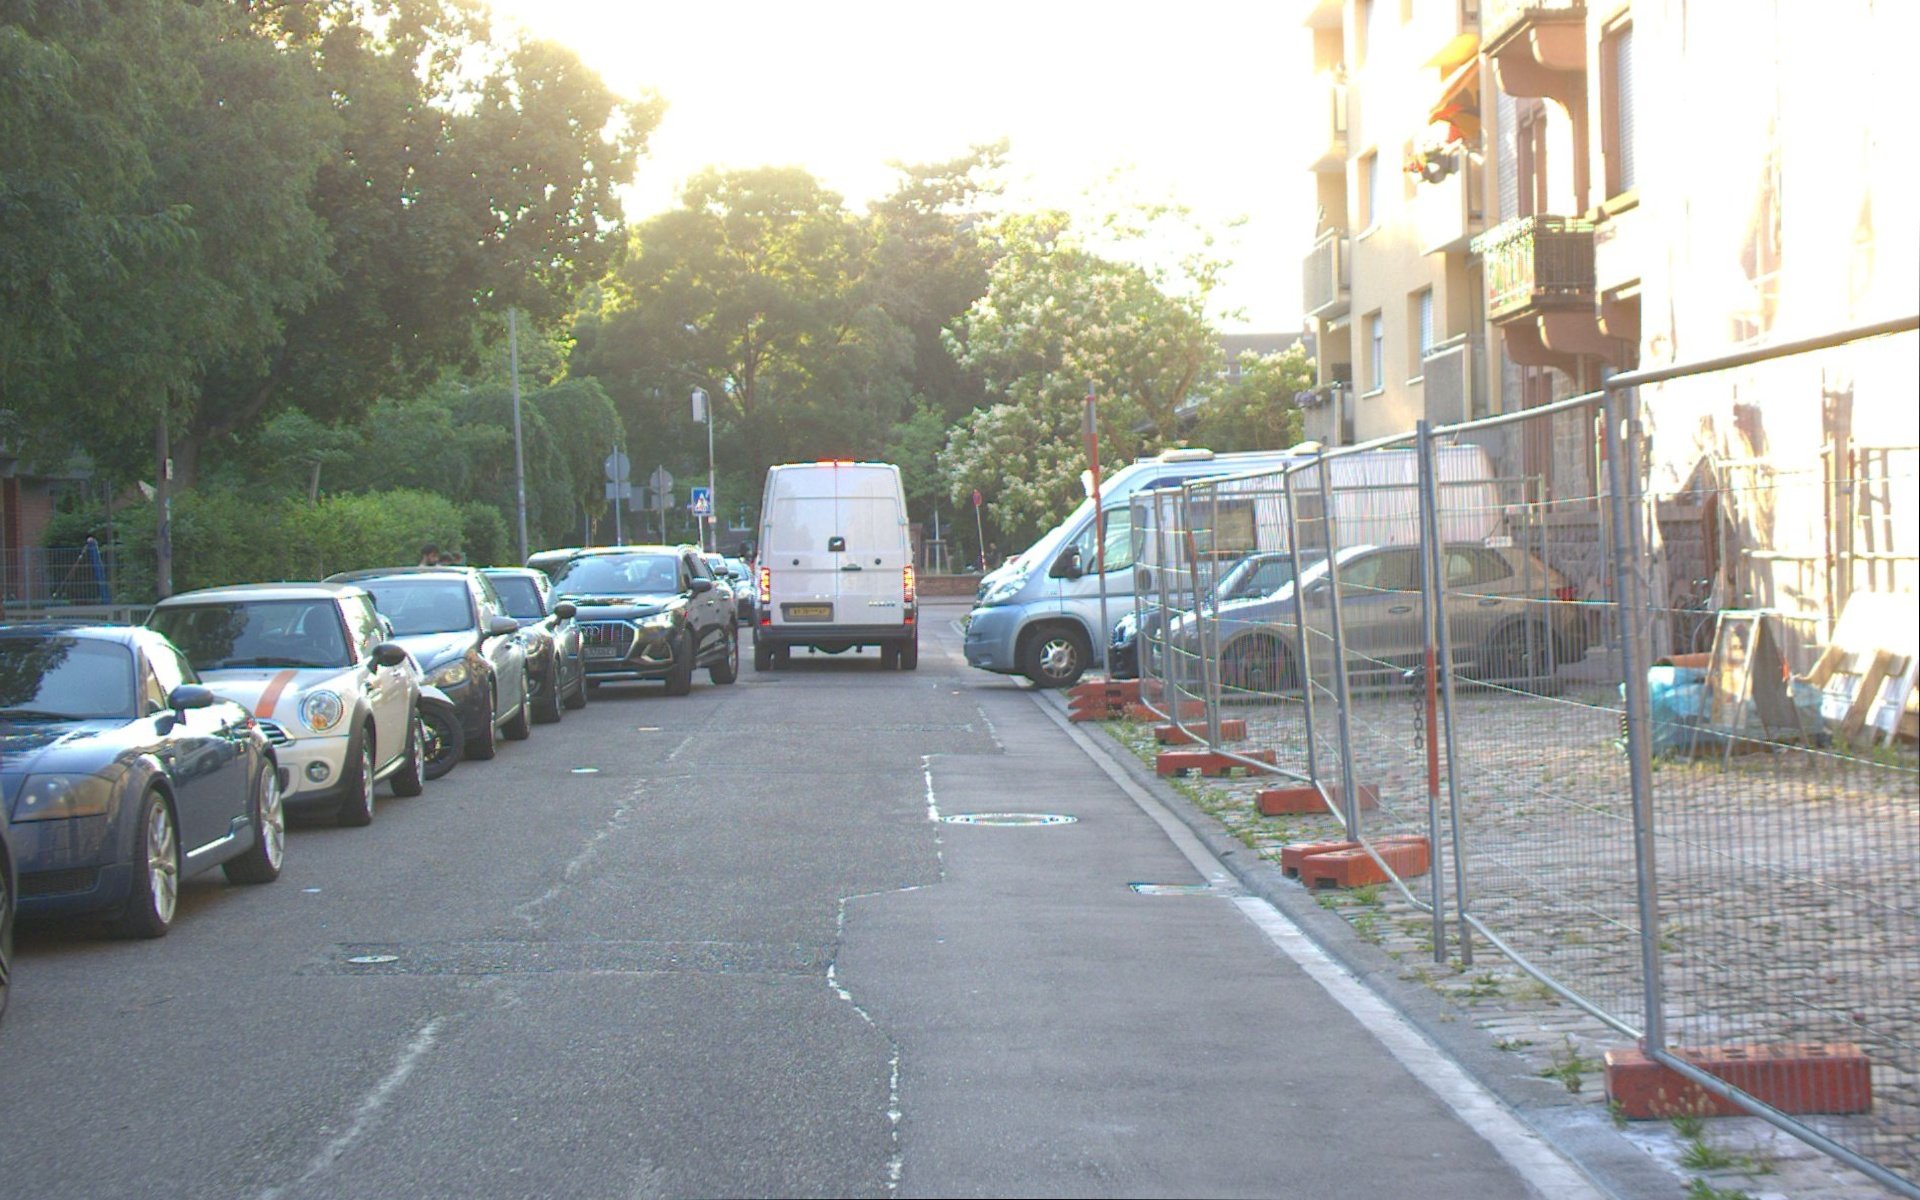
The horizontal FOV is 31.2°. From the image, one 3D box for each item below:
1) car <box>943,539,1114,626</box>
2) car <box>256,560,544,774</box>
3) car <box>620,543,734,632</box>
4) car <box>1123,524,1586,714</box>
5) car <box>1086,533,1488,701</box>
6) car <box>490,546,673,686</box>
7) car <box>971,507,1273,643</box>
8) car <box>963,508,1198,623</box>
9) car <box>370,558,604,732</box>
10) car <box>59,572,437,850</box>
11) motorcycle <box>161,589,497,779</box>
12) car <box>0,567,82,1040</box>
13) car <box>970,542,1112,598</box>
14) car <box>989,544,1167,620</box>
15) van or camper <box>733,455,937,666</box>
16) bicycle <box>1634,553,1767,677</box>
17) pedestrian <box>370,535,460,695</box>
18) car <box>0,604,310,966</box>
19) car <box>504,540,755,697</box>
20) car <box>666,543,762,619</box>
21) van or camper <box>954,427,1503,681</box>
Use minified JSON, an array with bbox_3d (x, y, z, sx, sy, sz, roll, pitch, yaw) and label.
[{"bbox_3d":[1.601,-0.418,80.905,3.987,2.007,2.000,0,1,1],"label":"car"},{"bbox_3d":[-4.396,0.470,27.536,1.715,1.491,4.361,-3,1,-3],"label":"car"},{"bbox_3d":[-5.234,-0.257,64.041,1.993,1.612,4.001,0,1,-3],"label":"car"},{"bbox_3d":[3.723,0.160,32.920,3.986,1.510,2.020,-4,1,-5],"label":"car"},{"bbox_3d":[3.349,0.181,35.762,3.935,1.481,1.787,-3,-1,0],"label":"car"},{"bbox_3d":[-4.817,0.169,44.209,1.783,1.625,4.000,-3,1,1],"label":"car"},{"bbox_3d":[2.570,-0.414,55.423,4.705,2.138,2.000,0,1,-2],"label":"car"},{"bbox_3d":[2.337,-0.682,67.664,4.495,2.223,2.032,0,1,-2],"label":"car"},{"bbox_3d":[-4.431,0.375,32.698,1.637,1.473,3.993,-3,1,0],"label":"car"},{"bbox_3d":[-4.262,0.603,21.084,1.601,1.426,3.804,-4,1,-3],"label":"car"},{"bbox_3d":[-4.460,0.576,24.342,2.165,1.299,0.879,0,1,13],"label":"motorcycle"},{"bbox_3d":[-4.038,0.717,9.957,1.860,1.532,4.759,-2,1,-2],"label":"car"},{"bbox_3d":[2.363,-0.880,101.034,3.986,1.612,2.000,0,1,-5],"label":"car"},{"bbox_3d":[2.676,-0.415,78.675,3.987,1.722,2.000,0,1,0],"label":"car"},{"bbox_3d":[-1.585,-0.529,45.073,2.453,2.538,6.083,1,1,-1],"label":"van or camper"},{"bbox_3d":[7.220,0.130,33.598,0.630,1.164,2.035,0,1,-7],"label":"bicycle"},{"bbox_3d":[-6.273,0.166,39.622,0.937,1.824,0.787,0,1,-2],"label":"pedestrian"},{"bbox_3d":[-4.127,0.744,15.372,1.659,1.309,4.155,-2,1,-1],"label":"car"},{"bbox_3d":[-3.527,0.156,37.490,1.804,1.564,4.564,-1,1,6],"label":"car"},{"bbox_3d":[-5.336,-0.436,74.993,1.993,1.612,4.001,0,1,-3],"label":"car"},{"bbox_3d":[2.933,-0.513,38.513,5.928,2.760,2.110,0,1,-2],"label":"van or camper"}]
